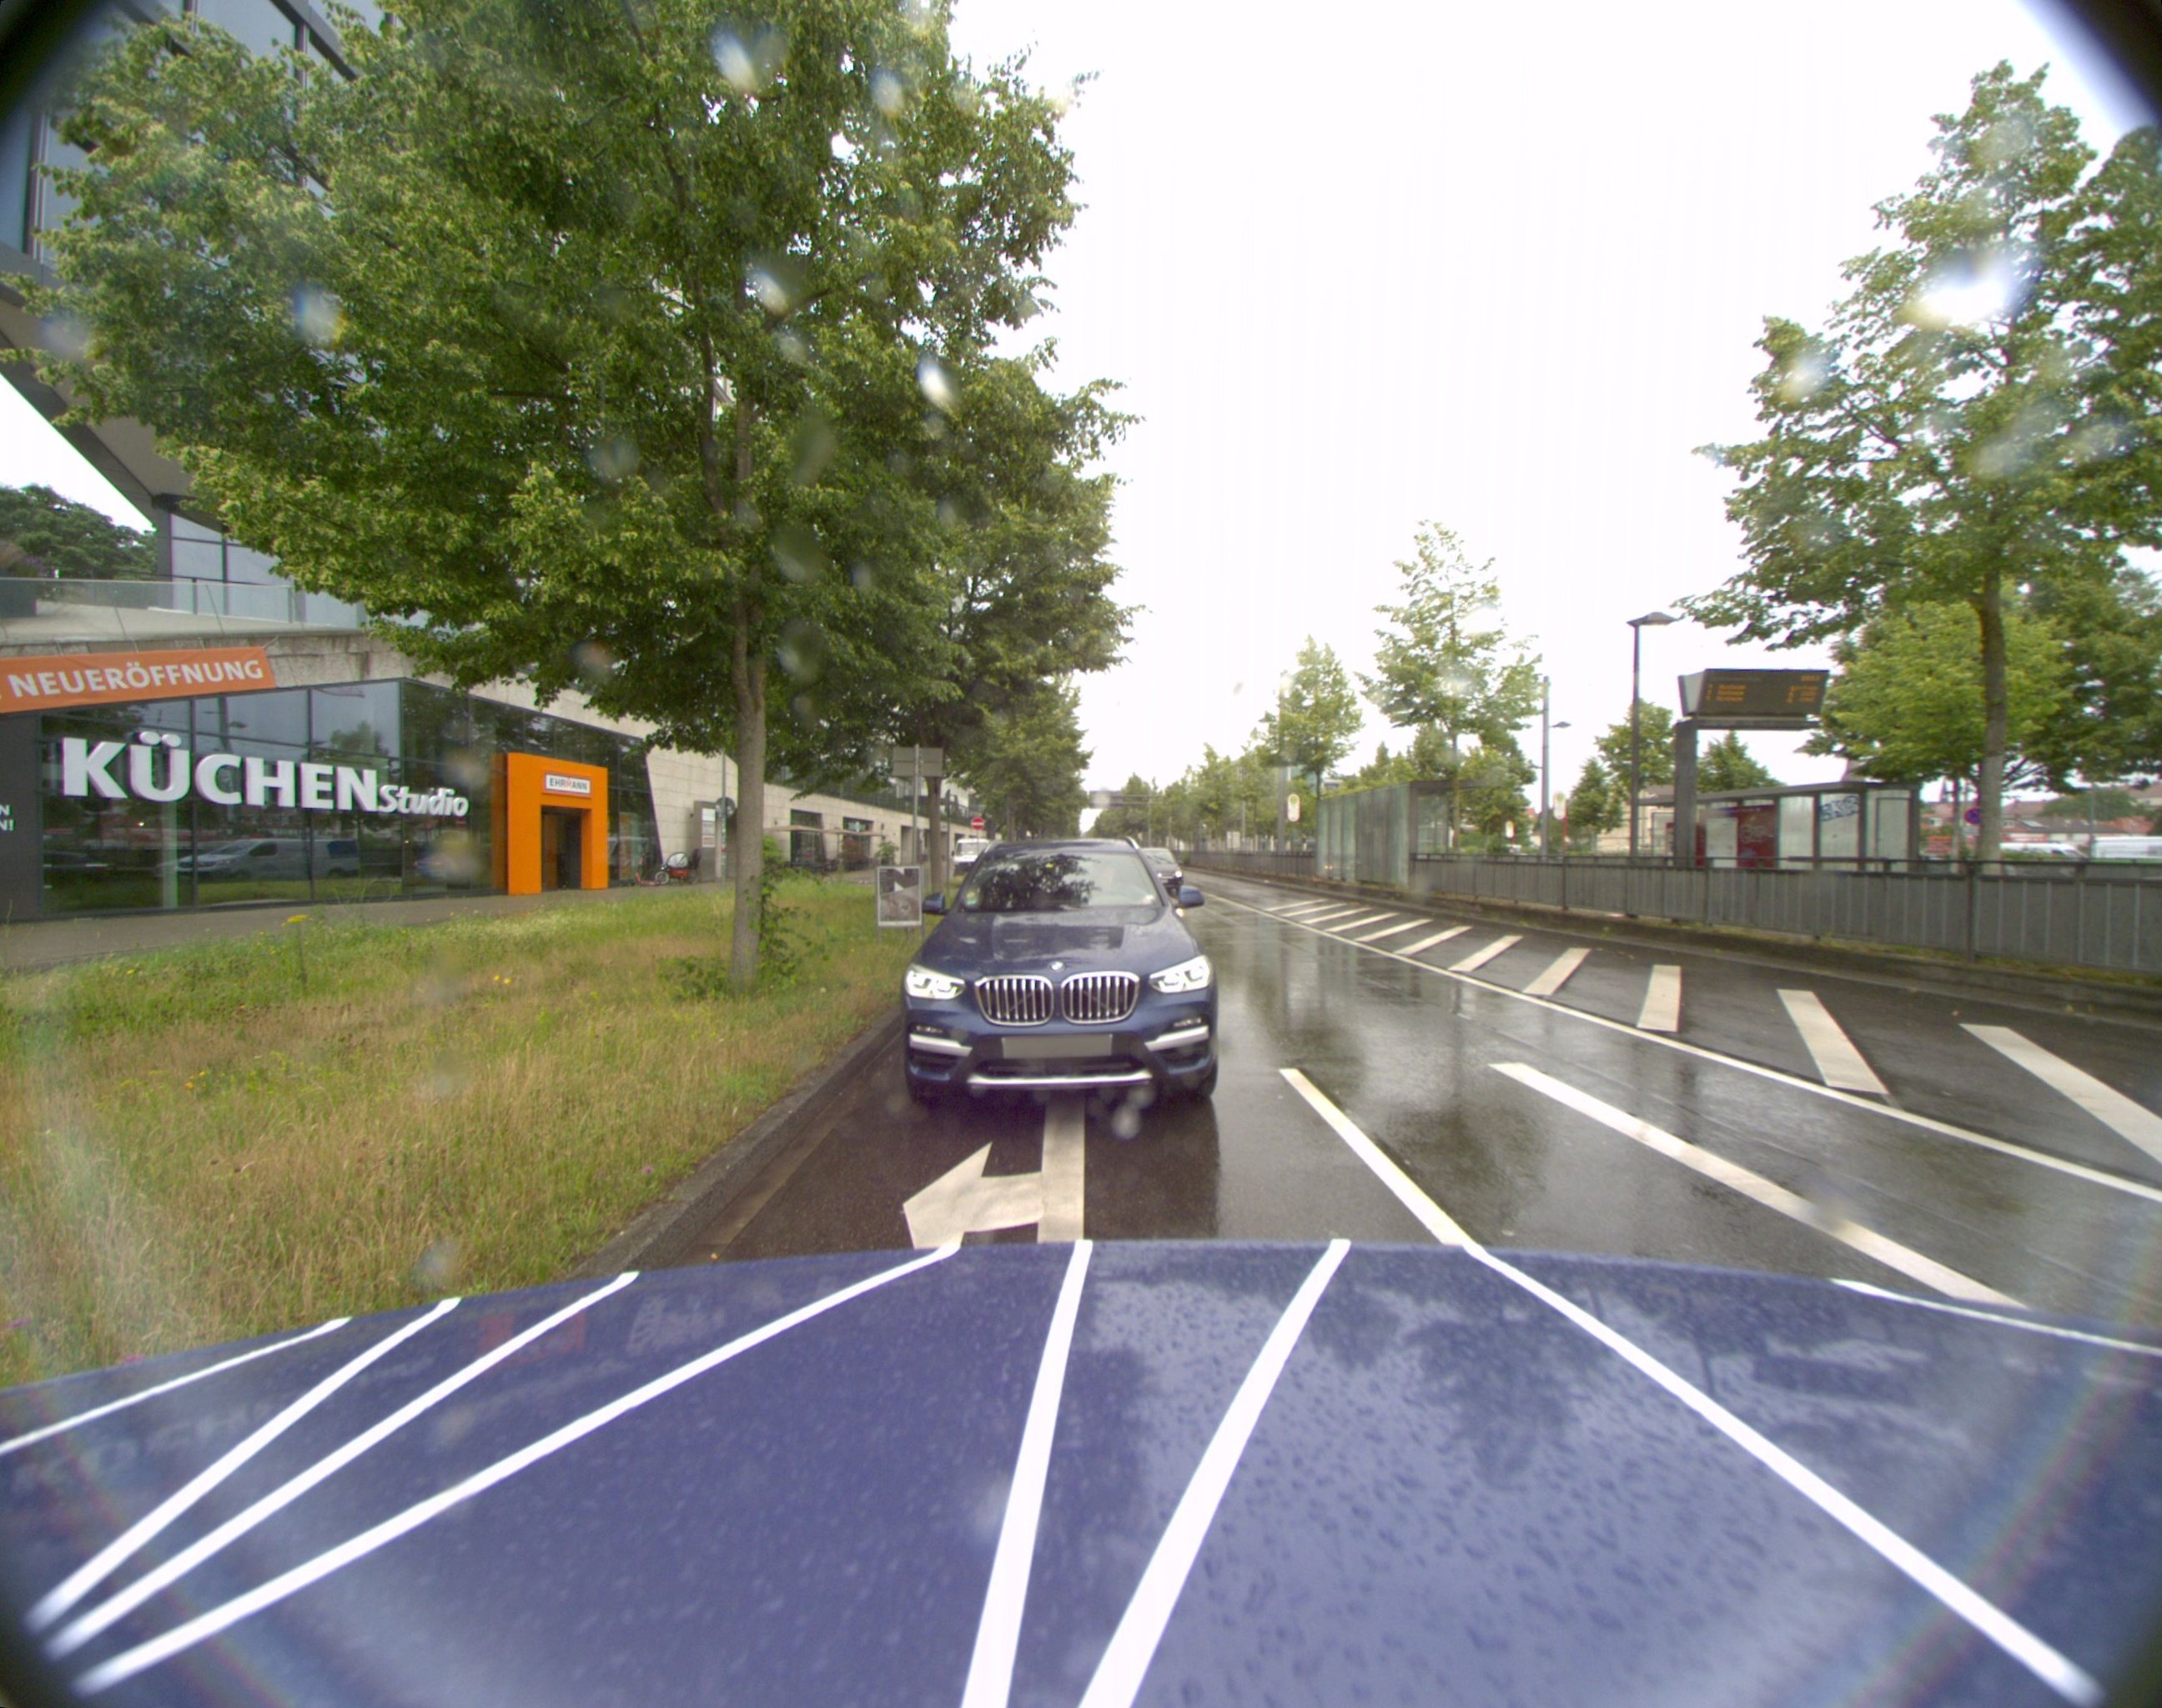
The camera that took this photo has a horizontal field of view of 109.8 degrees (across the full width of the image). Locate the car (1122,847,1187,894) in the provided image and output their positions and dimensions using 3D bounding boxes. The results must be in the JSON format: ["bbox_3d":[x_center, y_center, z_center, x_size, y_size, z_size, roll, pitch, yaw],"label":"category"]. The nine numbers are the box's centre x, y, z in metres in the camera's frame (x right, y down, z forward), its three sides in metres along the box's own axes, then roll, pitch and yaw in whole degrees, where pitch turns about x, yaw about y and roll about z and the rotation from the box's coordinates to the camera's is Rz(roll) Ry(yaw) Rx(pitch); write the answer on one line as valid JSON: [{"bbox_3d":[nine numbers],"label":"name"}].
[{"bbox_3d":[2.604,0.533,27.907,1.788,1.509,4.331,-2,1,-2],"label":"car"}]

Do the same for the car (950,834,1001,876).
[{"bbox_3d":[-5.960,0.047,43.457,2.084,2.189,5.097,-2,1,1],"label":"car"}]

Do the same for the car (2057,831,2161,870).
[{"bbox_3d":[70.139,-0.267,49.803,2.356,2.462,7.636,-2,1,-3],"label":"car"}]

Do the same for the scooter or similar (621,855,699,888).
[{"bbox_3d":[-15.577,0.627,28.235,0.810,1.093,2.617,-2,1,18],"label":"scooter or similar"}]

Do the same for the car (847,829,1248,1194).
[{"bbox_3d":[-0.140,0.812,5.943,1.916,1.736,4.384,-2,-1,1],"label":"car"}]

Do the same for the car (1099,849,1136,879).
[{"bbox_3d":[1.927,0.513,41.287,1.788,1.450,4.315,-2,1,1],"label":"car"}]

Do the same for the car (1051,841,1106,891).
[{"bbox_3d":[-0.062,0.394,27.872,1.788,1.638,3.999,-2,1,1],"label":"car"}]

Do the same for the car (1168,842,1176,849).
[{"bbox_3d":[27.455,-2.474,228.904,1.998,2.002,4.000,-2,1,2],"label":"car"}]

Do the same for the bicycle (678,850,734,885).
[{"bbox_3d":[-15.354,0.527,31.196,0.882,1.339,2.696,-2,1,1],"label":"bicycle"}]
